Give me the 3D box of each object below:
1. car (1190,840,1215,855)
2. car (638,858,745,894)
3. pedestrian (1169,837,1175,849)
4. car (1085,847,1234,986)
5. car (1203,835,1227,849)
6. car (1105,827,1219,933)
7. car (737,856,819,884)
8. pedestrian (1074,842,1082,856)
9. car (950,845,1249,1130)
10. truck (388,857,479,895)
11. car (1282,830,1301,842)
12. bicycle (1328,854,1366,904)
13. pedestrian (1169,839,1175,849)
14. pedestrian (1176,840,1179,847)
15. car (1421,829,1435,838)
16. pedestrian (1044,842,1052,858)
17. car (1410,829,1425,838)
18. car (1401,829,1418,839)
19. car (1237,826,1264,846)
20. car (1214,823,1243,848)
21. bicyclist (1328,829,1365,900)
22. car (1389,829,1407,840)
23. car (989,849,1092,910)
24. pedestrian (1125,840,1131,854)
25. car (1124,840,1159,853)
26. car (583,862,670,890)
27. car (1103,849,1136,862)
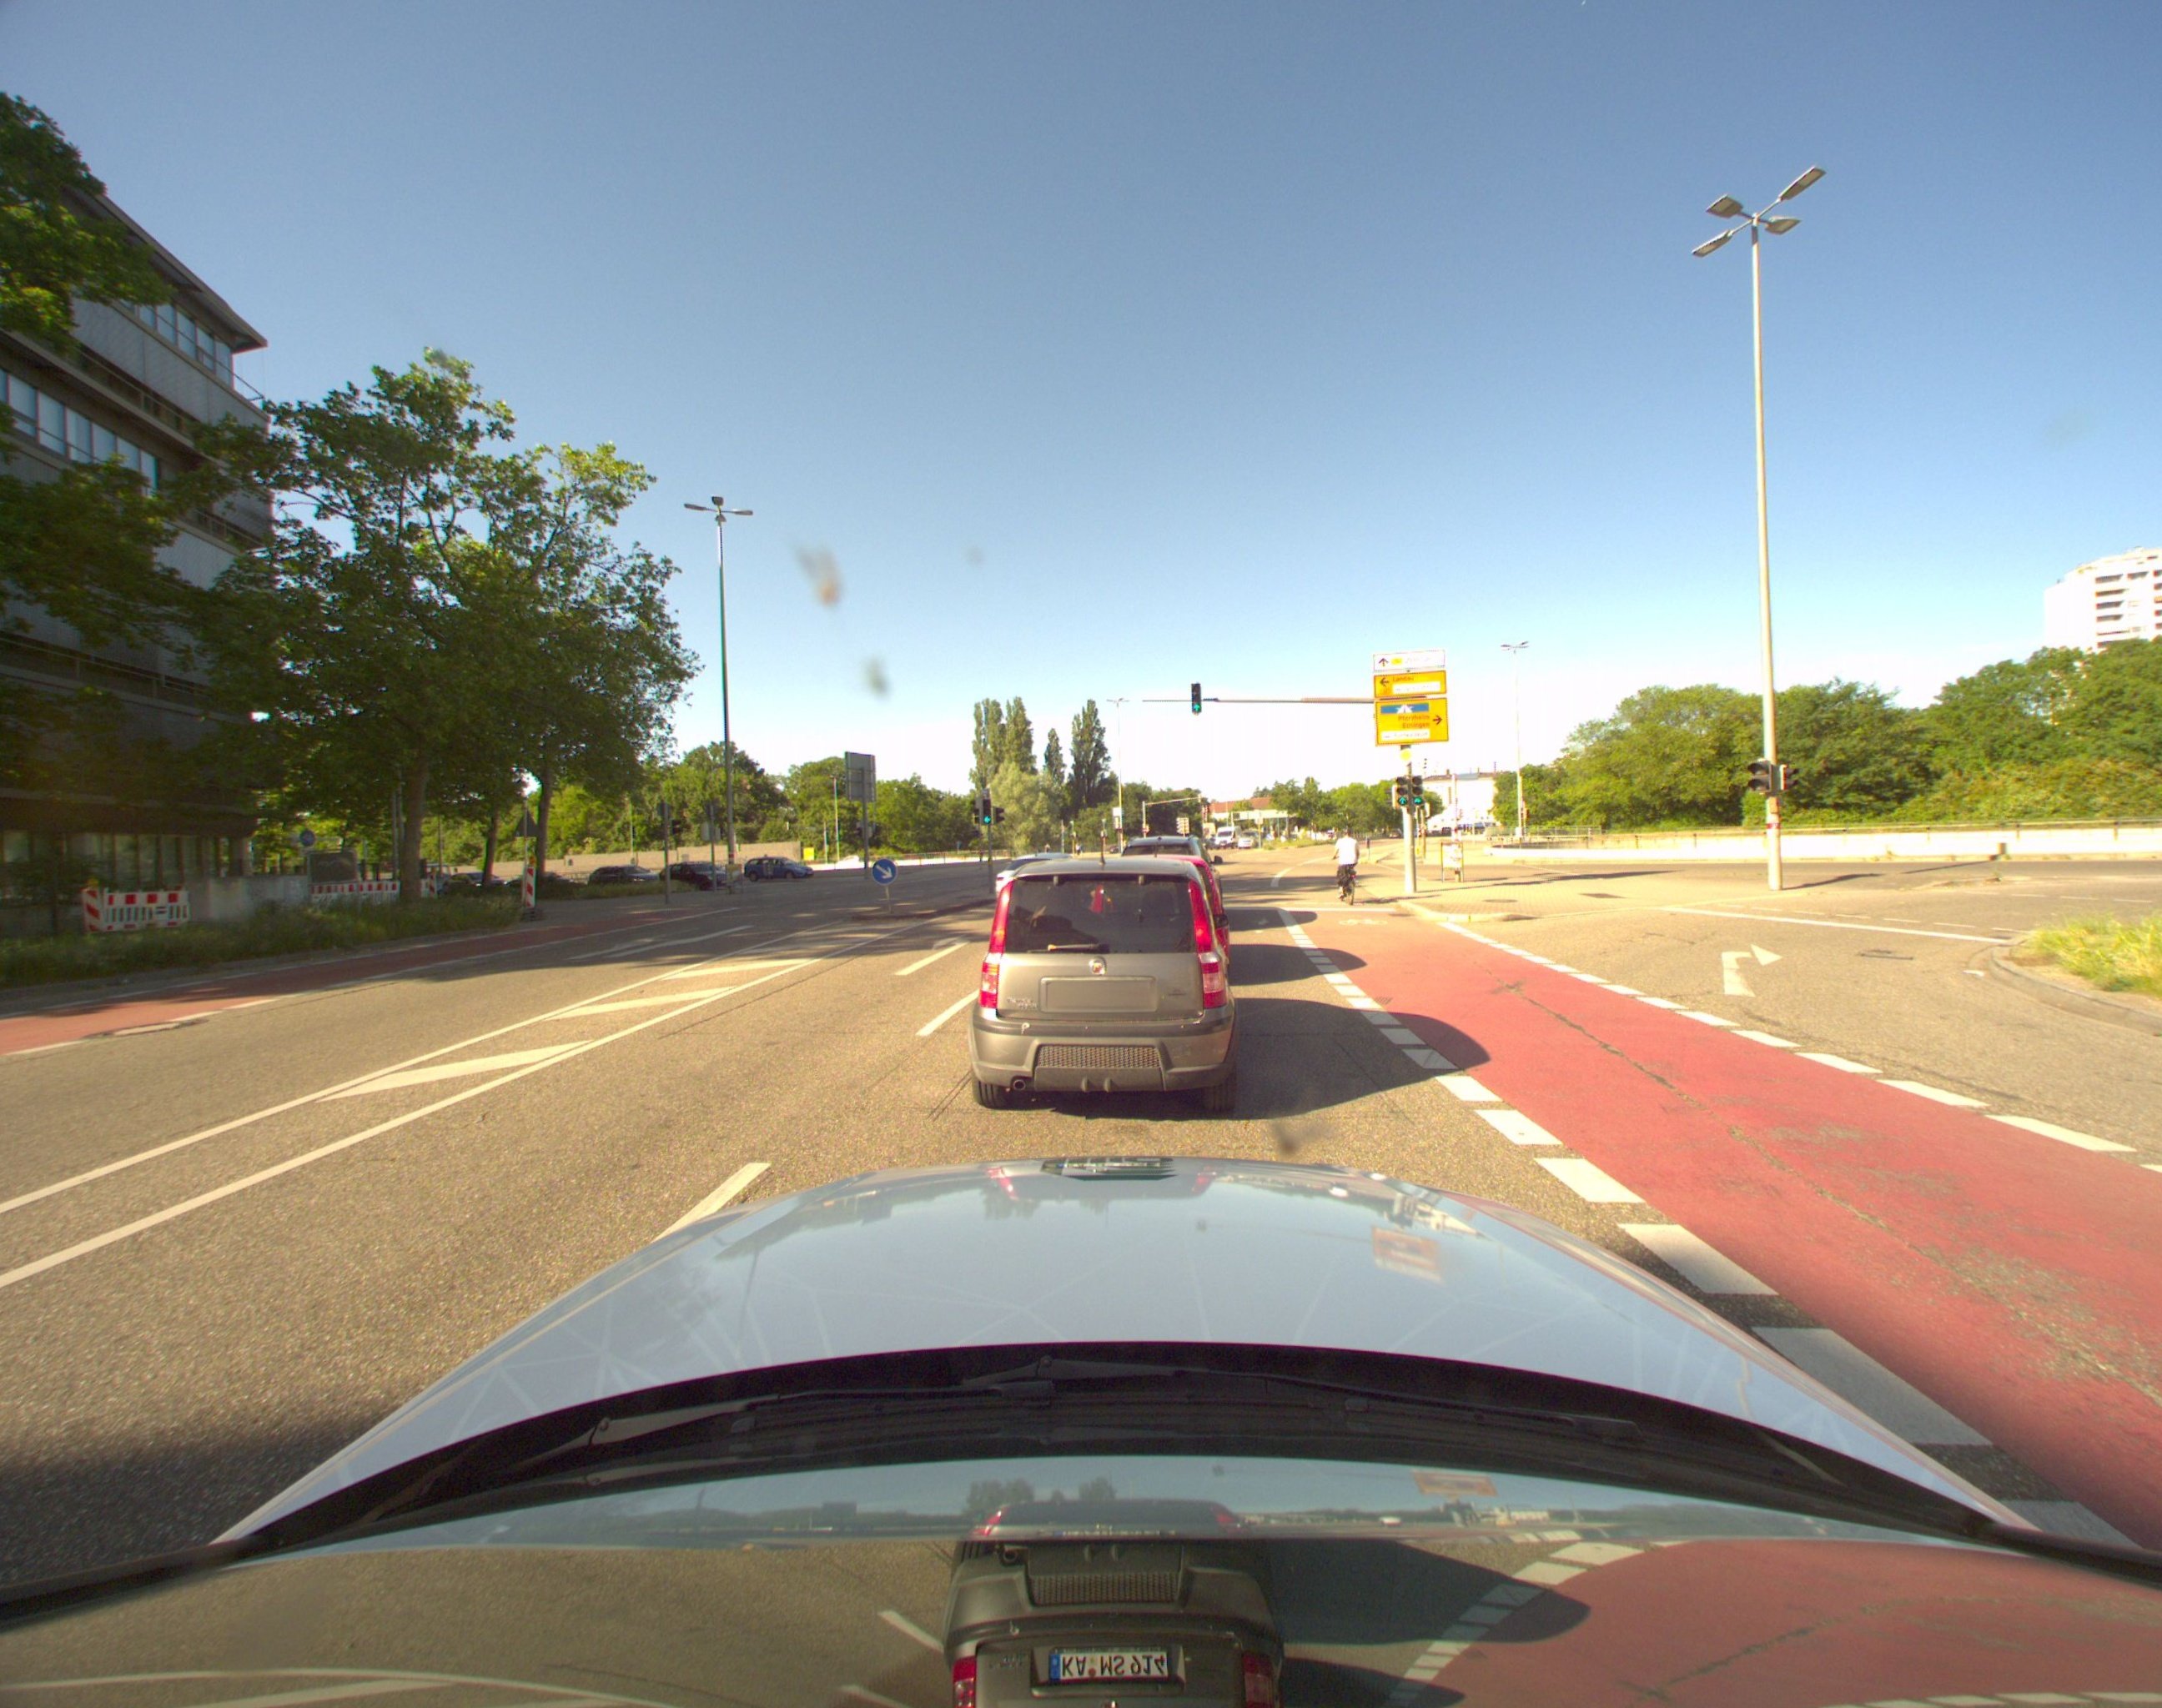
[{"bbox_3d":[13.705,-0.769,91.606,1.920,1.507,4.020,-3,1,19],"label":"car"},{"bbox_3d":[-19.665,1.097,41.150,4.731,1.621,1.961,-2,1,18],"label":"car"},{"bbox_3d":[13.813,-1.658,123.460,0.782,1.664,0.633,-1,-1,42],"label":"pedestrian"},{"bbox_3d":[1.104,0.686,10.949,1.609,1.463,3.759,-2,1,7],"label":"car"},{"bbox_3d":[16.207,-1.455,98.155,1.795,1.541,4.641,-3,1,21],"label":"car"},{"bbox_3d":[1.777,0.424,16.578,1.933,1.840,4.165,-2,1,10],"label":"car"},{"bbox_3d":[-18.907,0.975,50.903,4.410,1.540,1.960,-2,1,15],"label":"car"},{"bbox_3d":[-0.388,-0.595,94.840,0.710,1.547,0.725,-3,-1,-14],"label":"pedestrian"},{"bbox_3d":[0.331,0.739,6.415,1.609,1.515,3.828,-2,1,7],"label":"car"},{"bbox_3d":[-43.476,1.501,54.616,7.418,2.359,2.178,-2,1,30],"label":"truck"},{"bbox_3d":[29.383,-2.564,113.753,1.920,1.622,4.530,-2,1,22],"label":"car"},{"bbox_3d":[6.411,0.585,19.706,0.686,1.102,1.833,-1,1,12],"label":"bicycle"},{"bbox_3d":[14.244,-1.548,127.847,0.713,1.641,0.676,-1,-1,27],"label":"pedestrian"},{"bbox_3d":[15.155,-1.683,127.686,0.419,1.136,0.400,-1,-1,27],"label":"pedestrian"},{"bbox_3d":[68.160,-4.024,160.002,1.926,1.528,4.123,-2,1,30],"label":"car"},{"bbox_3d":[-3.009,-0.340,75.087,0.678,1.463,0.702,-2,1,-4],"label":"pedestrian"},{"bbox_3d":[60.433,-3.633,146.323,1.926,1.528,4.123,-2,1,30],"label":"car"},{"bbox_3d":[53.615,-3.349,132.987,1.926,1.528,4.123,-2,1,30],"label":"car"},{"bbox_3d":[18.061,-1.923,86.527,1.920,2.008,4.958,-2,1,22],"label":"car"},{"bbox_3d":[16.442,-2.078,90.557,1.920,2.576,6.122,-2,1,22],"label":"car"},{"bbox_3d":[6.390,0.235,19.649,0.719,1.659,1.117,-1,1,12],"label":"bicyclist"},{"bbox_3d":[48.859,-3.008,125.487,1.926,1.528,4.123,-2,1,30],"label":"car"},{"bbox_3d":[-0.987,0.627,22.300,1.769,1.415,4.333,-1,1,11],"label":"car"},{"bbox_3d":[5.413,-0.827,93.695,0.557,1.547,0.573,-3,-1,-14],"label":"pedestrian"},{"bbox_3d":[7.598,-0.928,102.005,4.351,1.535,1.764,-3,2,-39],"label":"car"},{"bbox_3d":[-24.930,1.226,44.660,4.452,1.358,1.892,-2,1,27],"label":"car"},{"bbox_3d":[4.904,0.223,104.044,4.018,1.625,1.880,0,-1,-37],"label":"car"}]
